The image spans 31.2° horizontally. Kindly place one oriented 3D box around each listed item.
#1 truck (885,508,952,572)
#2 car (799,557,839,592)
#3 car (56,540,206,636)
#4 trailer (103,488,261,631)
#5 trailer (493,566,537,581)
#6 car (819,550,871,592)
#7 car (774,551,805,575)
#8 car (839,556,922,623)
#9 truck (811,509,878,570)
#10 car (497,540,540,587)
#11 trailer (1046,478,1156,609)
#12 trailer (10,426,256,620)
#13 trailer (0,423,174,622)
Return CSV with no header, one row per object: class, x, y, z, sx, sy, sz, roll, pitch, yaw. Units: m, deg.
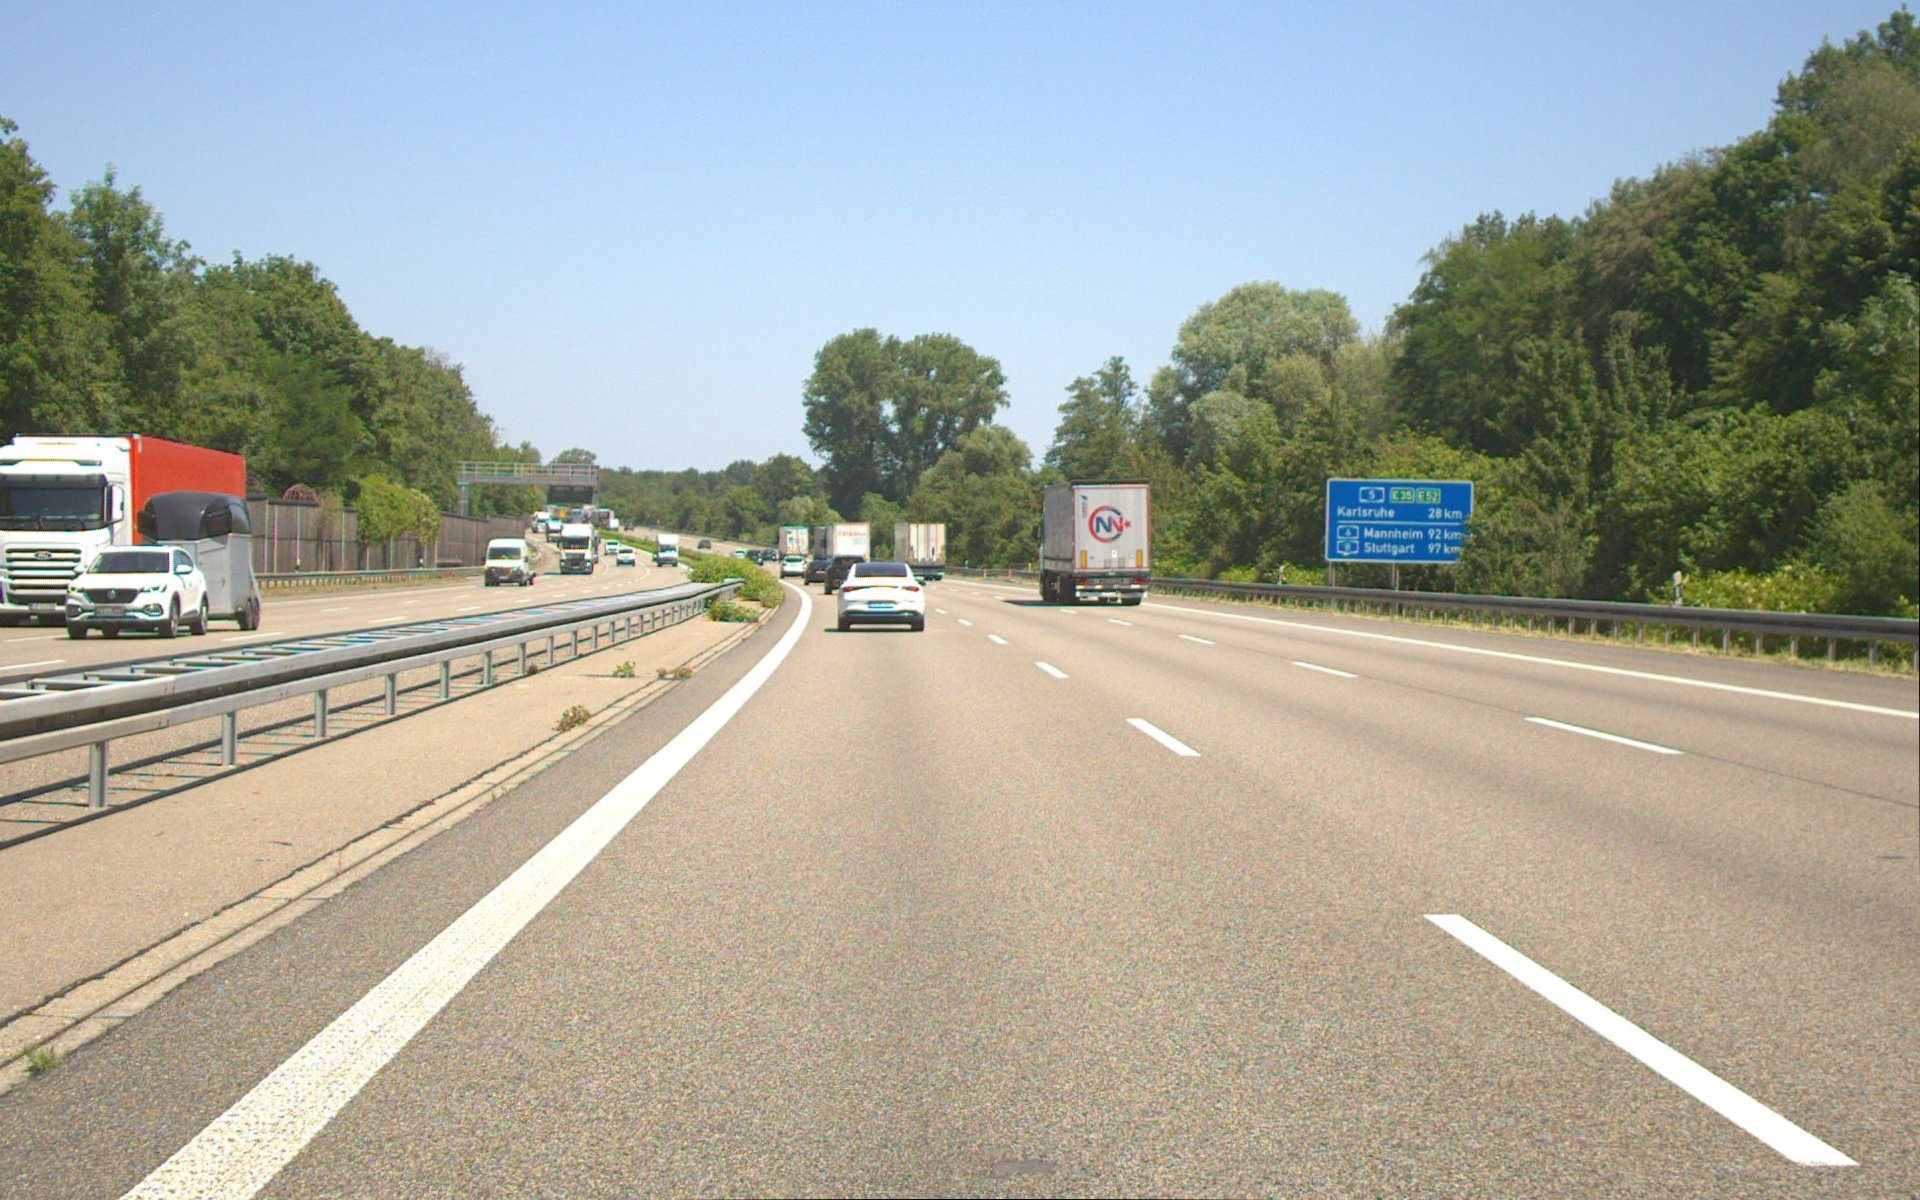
truck,-2.915,-4.107,237.563,3.491,4.296,10.991,0,1,-7
car,-8.308,-1.528,202.236,1.993,2.007,4.001,0,1,-7
car,-14.581,-0.233,60.651,1.836,1.626,4.020,0,1,-2
trailer,-14.682,-0.769,65.125,2.085,2.604,4.957,0,1,-3
trailer,-24.317,-1.448,187.795,2.161,0.804,6.283,0,1,-9
car,-4.993,-1.250,148.669,1.993,1.766,4.001,0,1,-6
car,-12.561,-2.731,253.193,1.723,1.777,4.001,0,1,-11
car,-1.677,-0.237,72.961,1.715,1.365,3.375,0,1,-1
truck,-8.467,-4.381,250.632,3.359,4.296,10.831,0,1,-10
car,-23.409,-1.931,182.010,2.023,2.423,5.414,0,1,-10
trailer,4.740,-1.932,118.560,2.624,4.246,14.062,0,1,-2
trailer,-18.872,-1.722,79.512,2.684,4.054,14.052,0,1,-2
trailer,-18.688,-1.627,73.235,2.688,4.028,6.037,0,1,-2
